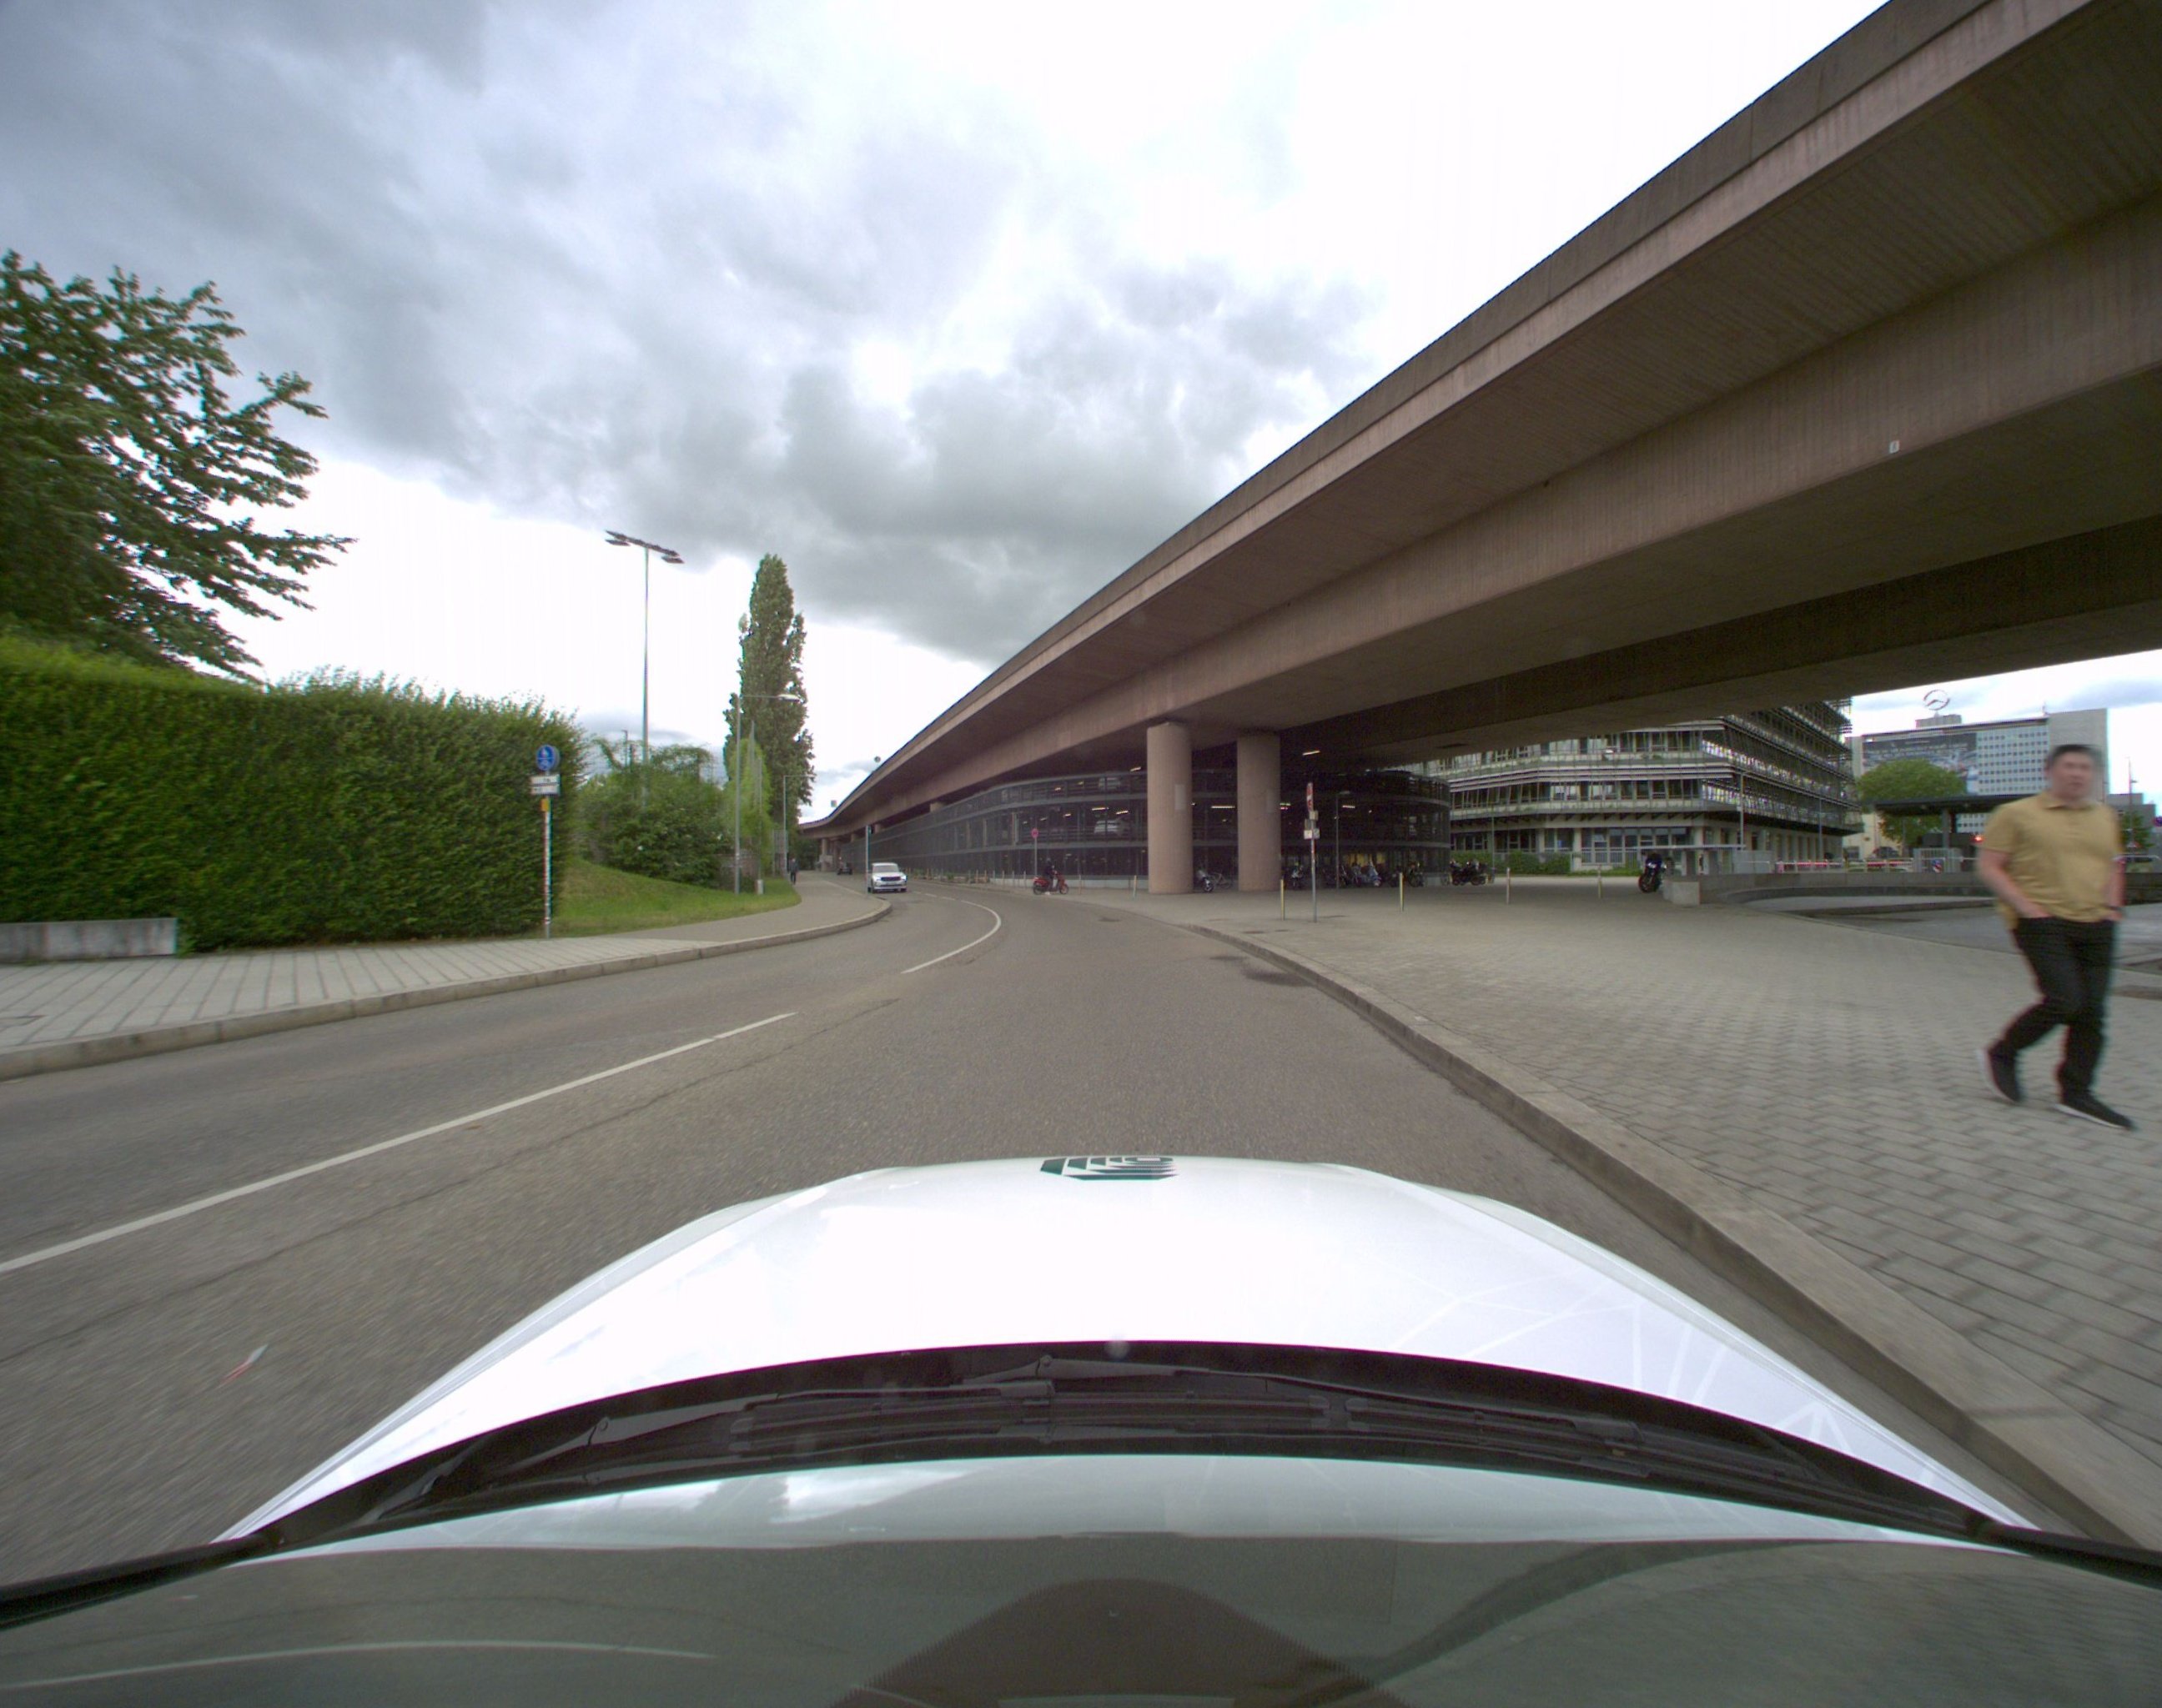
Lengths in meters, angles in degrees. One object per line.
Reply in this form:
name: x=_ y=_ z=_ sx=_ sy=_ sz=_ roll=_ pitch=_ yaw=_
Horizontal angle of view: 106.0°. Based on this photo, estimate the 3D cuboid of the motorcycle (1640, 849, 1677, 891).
motorcycle: x=18.120 y=0.479 z=25.546 sx=1.952 sy=1.264 sz=0.541 roll=-1 pitch=0 yaw=-43

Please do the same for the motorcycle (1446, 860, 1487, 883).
motorcycle: x=22.101 y=0.999 z=46.721 sx=0.674 sy=1.275 sz=2.348 roll=-1 pitch=0 yaw=-20

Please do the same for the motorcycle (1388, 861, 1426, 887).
motorcycle: x=17.424 y=1.056 z=43.597 sx=0.674 sy=1.286 sz=2.065 roll=-1 pitch=0 yaw=-20

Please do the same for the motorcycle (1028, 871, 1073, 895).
motorcycle: x=-1.384 y=1.315 z=36.979 sx=1.955 sy=1.022 sz=0.744 roll=-1 pitch=0 yaw=-18

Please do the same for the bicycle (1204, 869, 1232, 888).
bicycle: x=7.252 y=1.293 z=43.110 sx=1.465 sy=0.976 sz=0.452 roll=0 pitch=0 yaw=5

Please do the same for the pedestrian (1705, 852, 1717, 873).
pedestrian: x=46.917 y=0.630 z=60.664 sx=0.546 sy=1.481 sz=0.492 roll=-1 pitch=0 yaw=-25

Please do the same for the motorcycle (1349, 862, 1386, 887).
motorcycle: x=15.142 y=1.077 z=43.118 sx=0.674 sy=1.220 sz=2.065 roll=-1 pitch=0 yaw=-20

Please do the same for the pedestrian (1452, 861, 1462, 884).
pedestrian: x=32.766 y=1.630 z=70.982 sx=0.527 sy=2.014 sz=0.571 roll=0 pitch=-1 yaw=-11

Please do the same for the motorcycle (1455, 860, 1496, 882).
motorcycle: x=23.086 y=0.967 z=47.674 sx=0.674 sy=1.220 sz=2.348 roll=-1 pitch=0 yaw=-20

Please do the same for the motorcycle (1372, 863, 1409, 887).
motorcycle: x=16.388 y=1.098 z=43.162 sx=0.674 sy=1.220 sz=2.065 roll=-1 pitch=0 yaw=-20

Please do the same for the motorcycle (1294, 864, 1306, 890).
motorcycle: x=10.171 y=1.080 z=37.877 sx=0.516 sy=1.171 sz=1.155 roll=0 pitch=-2 yaw=16

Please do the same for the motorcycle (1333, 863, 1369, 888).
motorcycle: x=14.109 y=1.091 z=42.615 sx=0.674 sy=1.220 sz=2.065 roll=-1 pitch=0 yaw=-20

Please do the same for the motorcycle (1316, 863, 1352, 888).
motorcycle: x=13.136 y=1.101 z=42.398 sx=0.674 sy=1.220 sz=2.065 roll=-1 pitch=0 yaw=-20

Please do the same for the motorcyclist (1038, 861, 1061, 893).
motorcyclist: x=-1.430 y=1.045 z=36.966 sx=0.869 sy=1.419 sz=0.759 roll=-1 pitch=0 yaw=-18

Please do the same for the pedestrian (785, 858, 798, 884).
pedestrian: x=-20.360 y=1.183 z=57.287 sx=0.806 sy=1.781 sz=0.914 roll=-1 pitch=0 yaw=-21

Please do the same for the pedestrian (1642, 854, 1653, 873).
pedestrian: x=45.227 y=0.771 z=64.977 sx=0.542 sy=1.481 sz=0.496 roll=0 pitch=0 yaw=-6

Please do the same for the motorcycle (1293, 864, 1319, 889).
motorcycle: x=11.379 y=1.125 z=41.247 sx=0.827 sy=1.220 sz=2.079 roll=0 pitch=0 yaw=1

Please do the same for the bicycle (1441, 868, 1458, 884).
bicycle: x=22.423 y=1.341 z=49.522 sx=0.469 sy=0.895 sz=1.514 roll=0 pitch=0 yaw=44

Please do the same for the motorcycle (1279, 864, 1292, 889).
motorcycle: x=10.110 y=1.113 z=40.243 sx=0.517 sy=1.220 sz=1.153 roll=0 pitch=0 yaw=10

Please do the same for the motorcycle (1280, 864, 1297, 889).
motorcycle: x=10.577 y=1.128 z=41.587 sx=0.519 sy=1.220 sz=1.149 roll=0 pitch=0 yaw=-3

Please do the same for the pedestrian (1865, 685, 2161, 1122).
pedestrian: x=4.939 y=0.225 z=4.356 sx=0.775 sy=2.013 sz=1.045 roll=0 pitch=0 yaw=25

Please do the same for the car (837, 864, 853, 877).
car: x=-32.710 y=2.244 z=112.681 sx=1.846 sy=1.711 sz=3.680 roll=-1 pitch=0 yaw=-20

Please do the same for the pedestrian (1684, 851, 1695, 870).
pedestrian: x=46.401 y=0.490 z=62.104 sx=0.546 sy=1.481 sz=0.492 roll=-1 pitch=0 yaw=-28

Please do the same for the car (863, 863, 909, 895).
car: x=-11.029 y=1.378 z=45.929 sx=1.872 sy=1.684 sz=4.371 roll=-1 pitch=-1 yaw=-22

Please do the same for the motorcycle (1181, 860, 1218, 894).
motorcycle: x=5.400 y=1.024 z=37.110 sx=0.647 sy=1.455 sz=1.743 roll=-1 pitch=0 yaw=-36
